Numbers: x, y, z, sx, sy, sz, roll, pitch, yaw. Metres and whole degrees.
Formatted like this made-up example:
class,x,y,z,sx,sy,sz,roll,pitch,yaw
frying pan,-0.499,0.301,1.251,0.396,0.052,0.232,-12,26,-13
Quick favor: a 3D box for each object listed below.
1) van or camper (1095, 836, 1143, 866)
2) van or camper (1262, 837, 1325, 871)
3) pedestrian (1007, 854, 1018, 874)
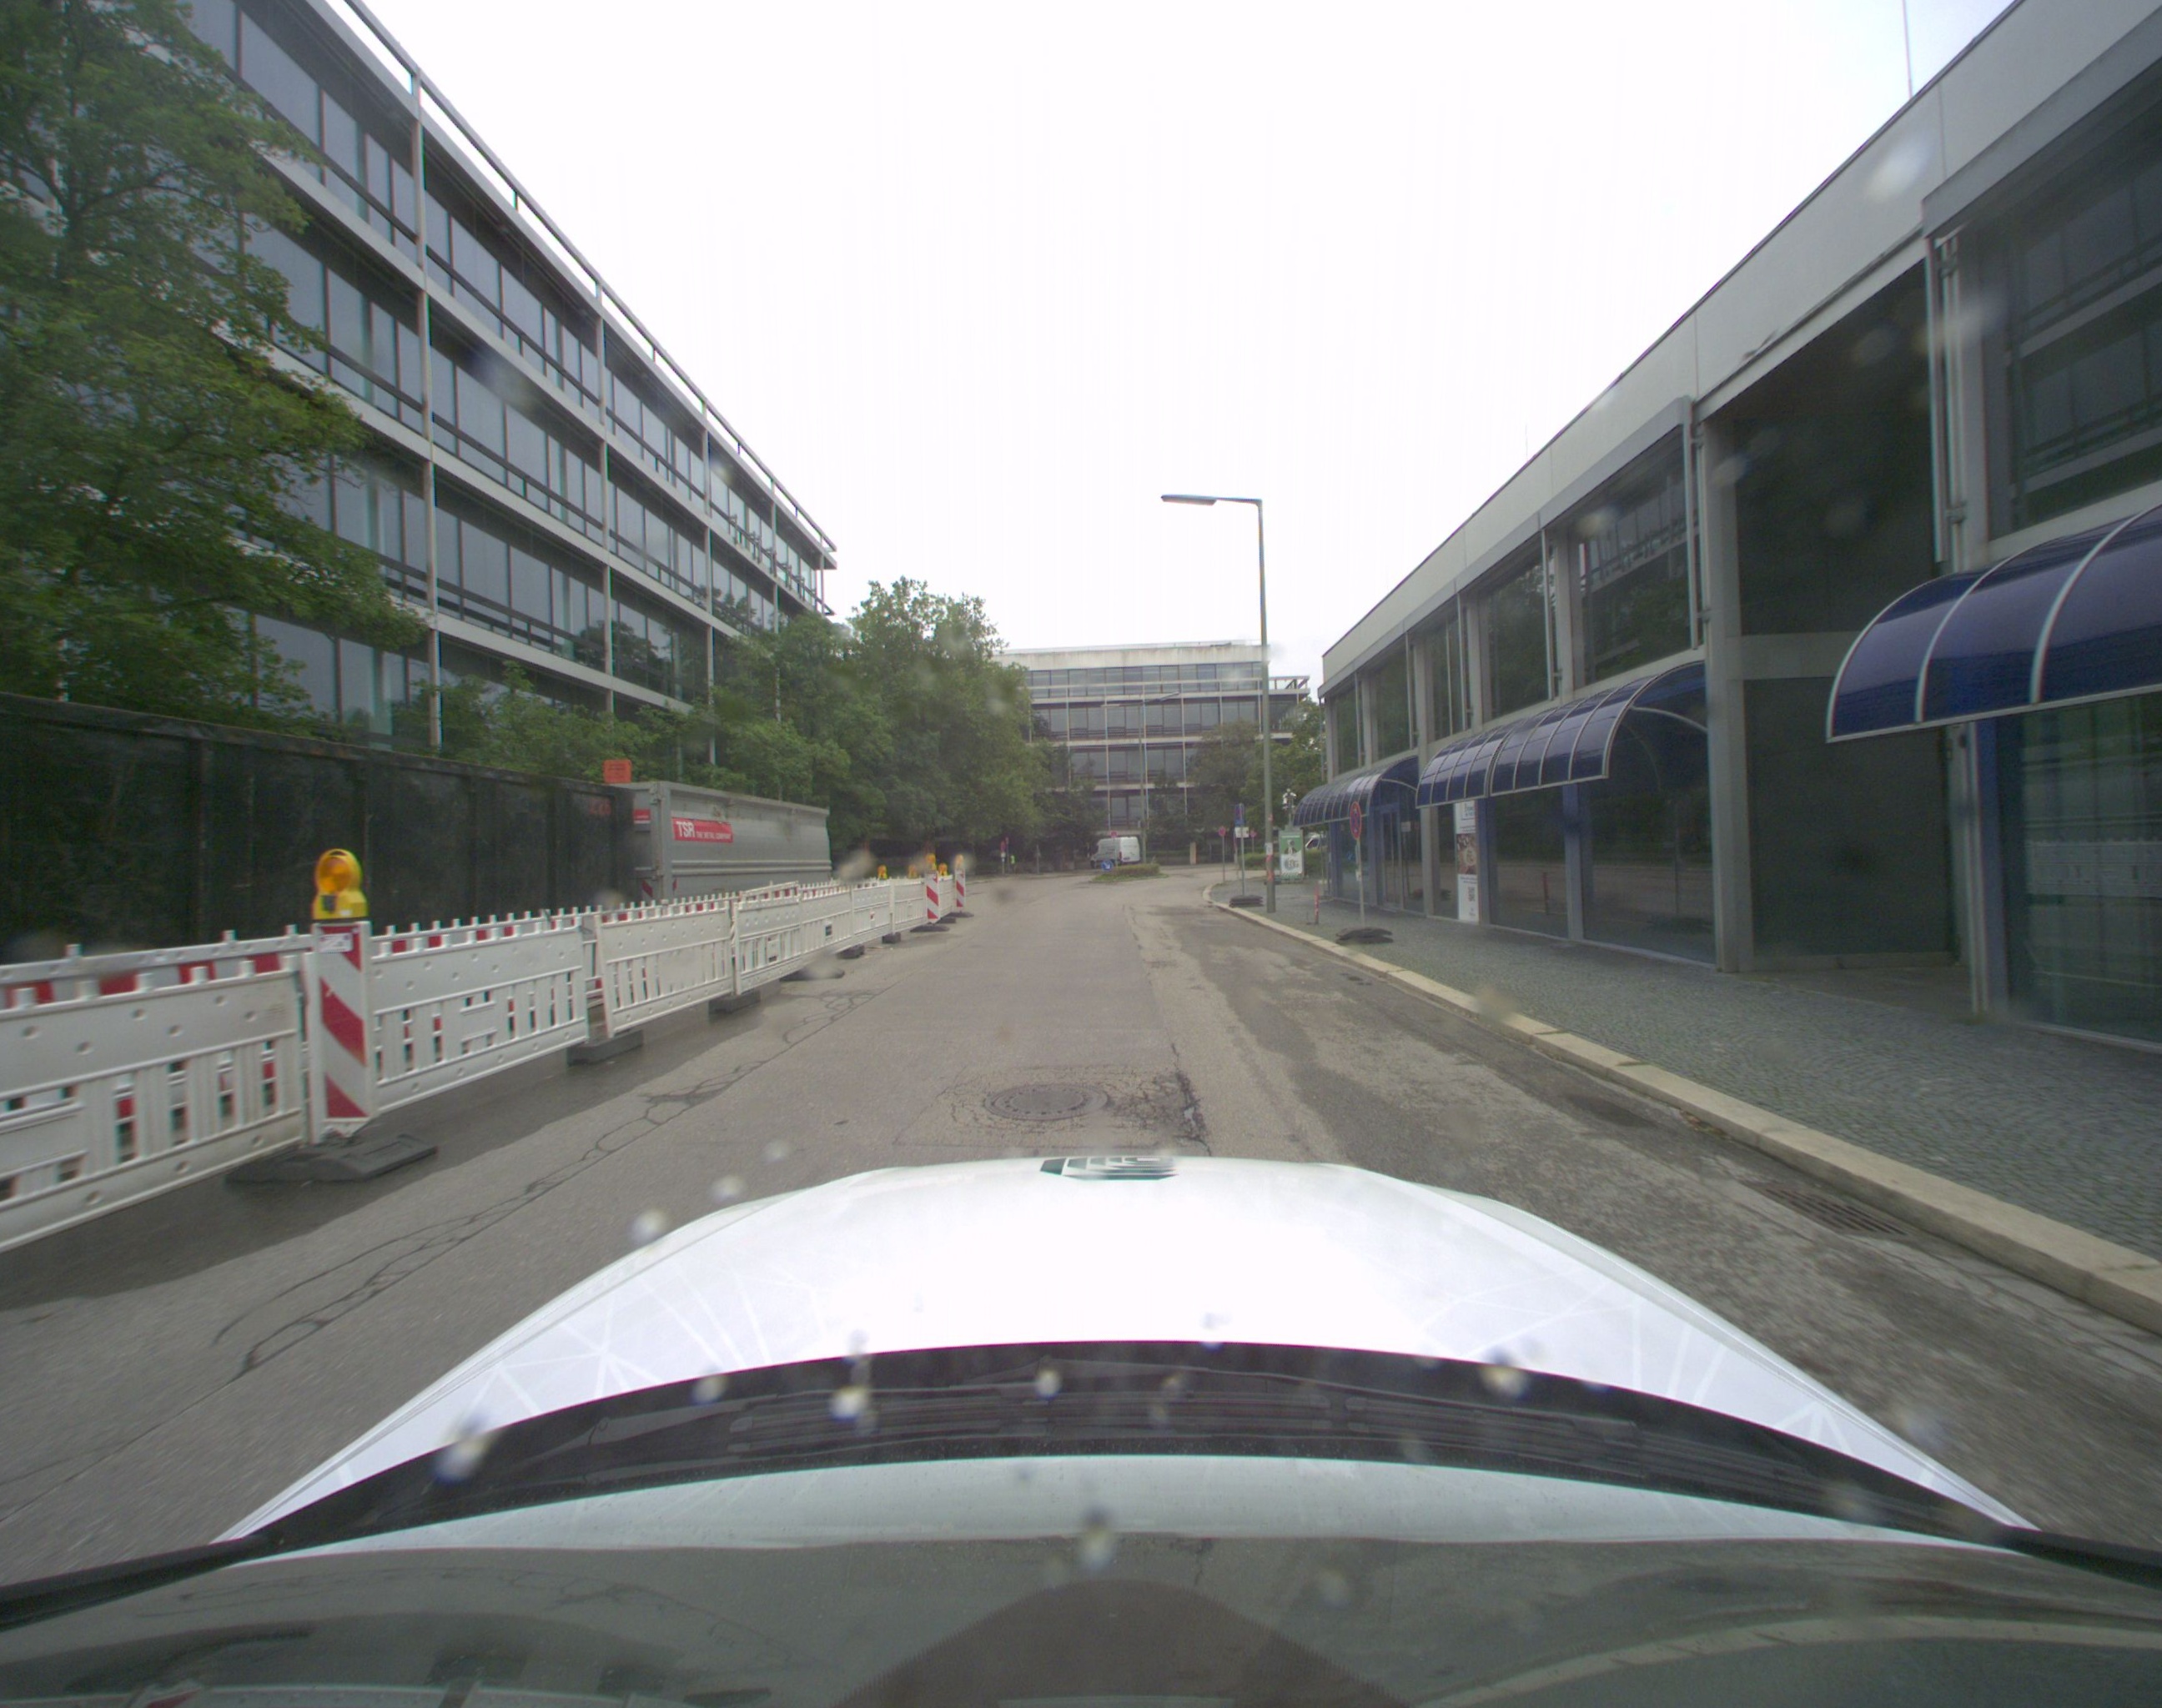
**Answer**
class,x,y,z,sx,sy,sz,roll,pitch,yaw
van or camper,3.272,-0.217,70.746,2.095,2.492,5.027,-2,0,-23
van or camper,17.528,-0.012,67.270,4.448,2.585,2.102,-2,0,-9
pedestrian,-5.890,0.827,69.711,0.743,1.677,0.678,-2,0,-18
